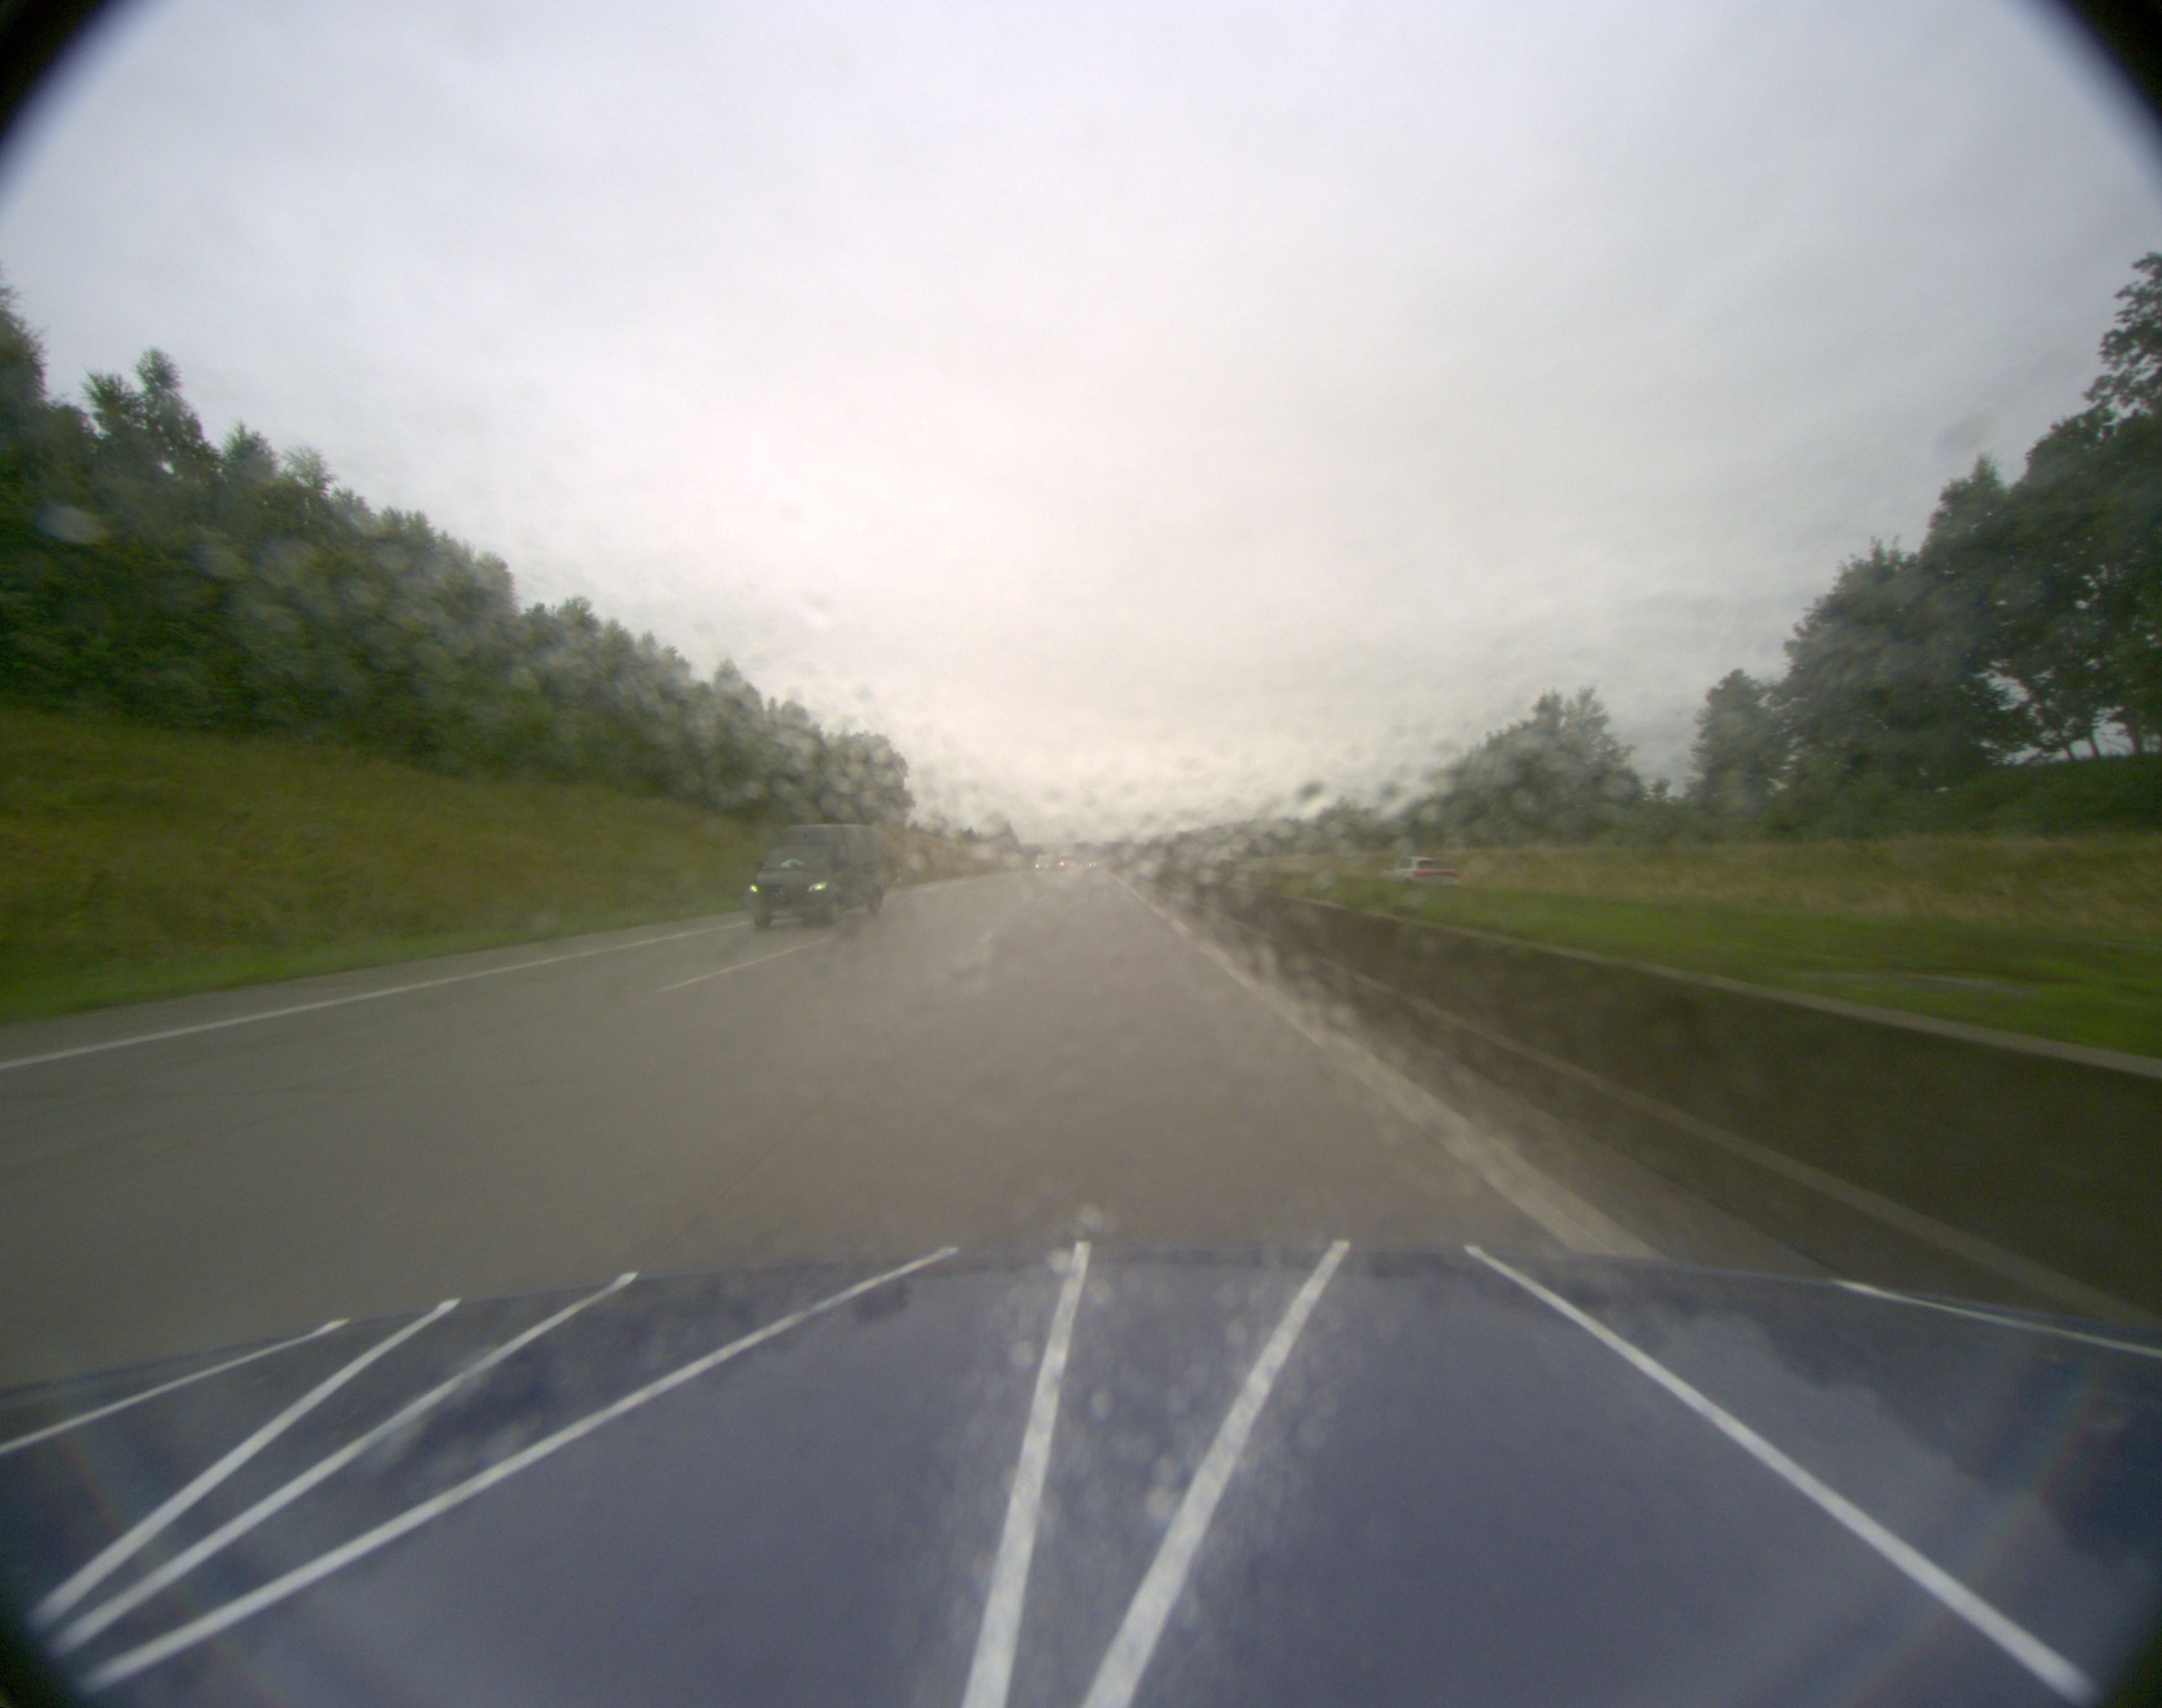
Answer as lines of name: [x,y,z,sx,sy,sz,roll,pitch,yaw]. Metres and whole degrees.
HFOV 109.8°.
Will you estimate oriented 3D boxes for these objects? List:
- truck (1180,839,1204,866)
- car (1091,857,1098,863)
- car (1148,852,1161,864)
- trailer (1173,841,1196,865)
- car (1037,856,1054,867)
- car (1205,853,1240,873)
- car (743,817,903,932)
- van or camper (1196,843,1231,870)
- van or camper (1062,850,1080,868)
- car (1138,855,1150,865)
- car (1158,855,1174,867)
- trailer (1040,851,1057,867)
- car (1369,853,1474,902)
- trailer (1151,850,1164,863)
truck: [17.882,-0.214,122.774,2.591,4.116,8.592,1,0,0]
car: [3.247,1.433,182.574,1.733,1.450,4.672,0,0,1]
car: [14.894,0.790,154.394,1.998,2.168,5.207,1,0,1]
trailer: [17.958,-0.092,132.244,2.593,4.023,10.375,2,0,1]
car: [-5.308,1.064,114.939,1.998,1.575,5.953,-2,0,2]
car: [9.823,0.585,52.927,1.743,1.326,4.099,0,0,1]
car: [-6.839,0.495,21.152,1.945,2.643,6.587,-2,0,2]
van or camper: [14.008,0.190,80.619,2.418,2.720,7.713,0,1,1]
van or camper: [-1.374,0.669,109.487,2.233,2.537,7.950,0,0,2]
car: [10.776,1.063,130.526,1.765,1.677,4.455,0,0,1]
car: [11.412,0.938,102.482,1.668,1.507,4.465,0,0,1]
trailer: [-5.100,0.693,120.927,2.348,2.445,5.939,0,1,2]
car: [12.669,0.825,28.652,1.884,1.655,4.687,1,0,1]
trailer: [14.865,0.471,147.705,2.043,2.359,5.833,0,0,1]
